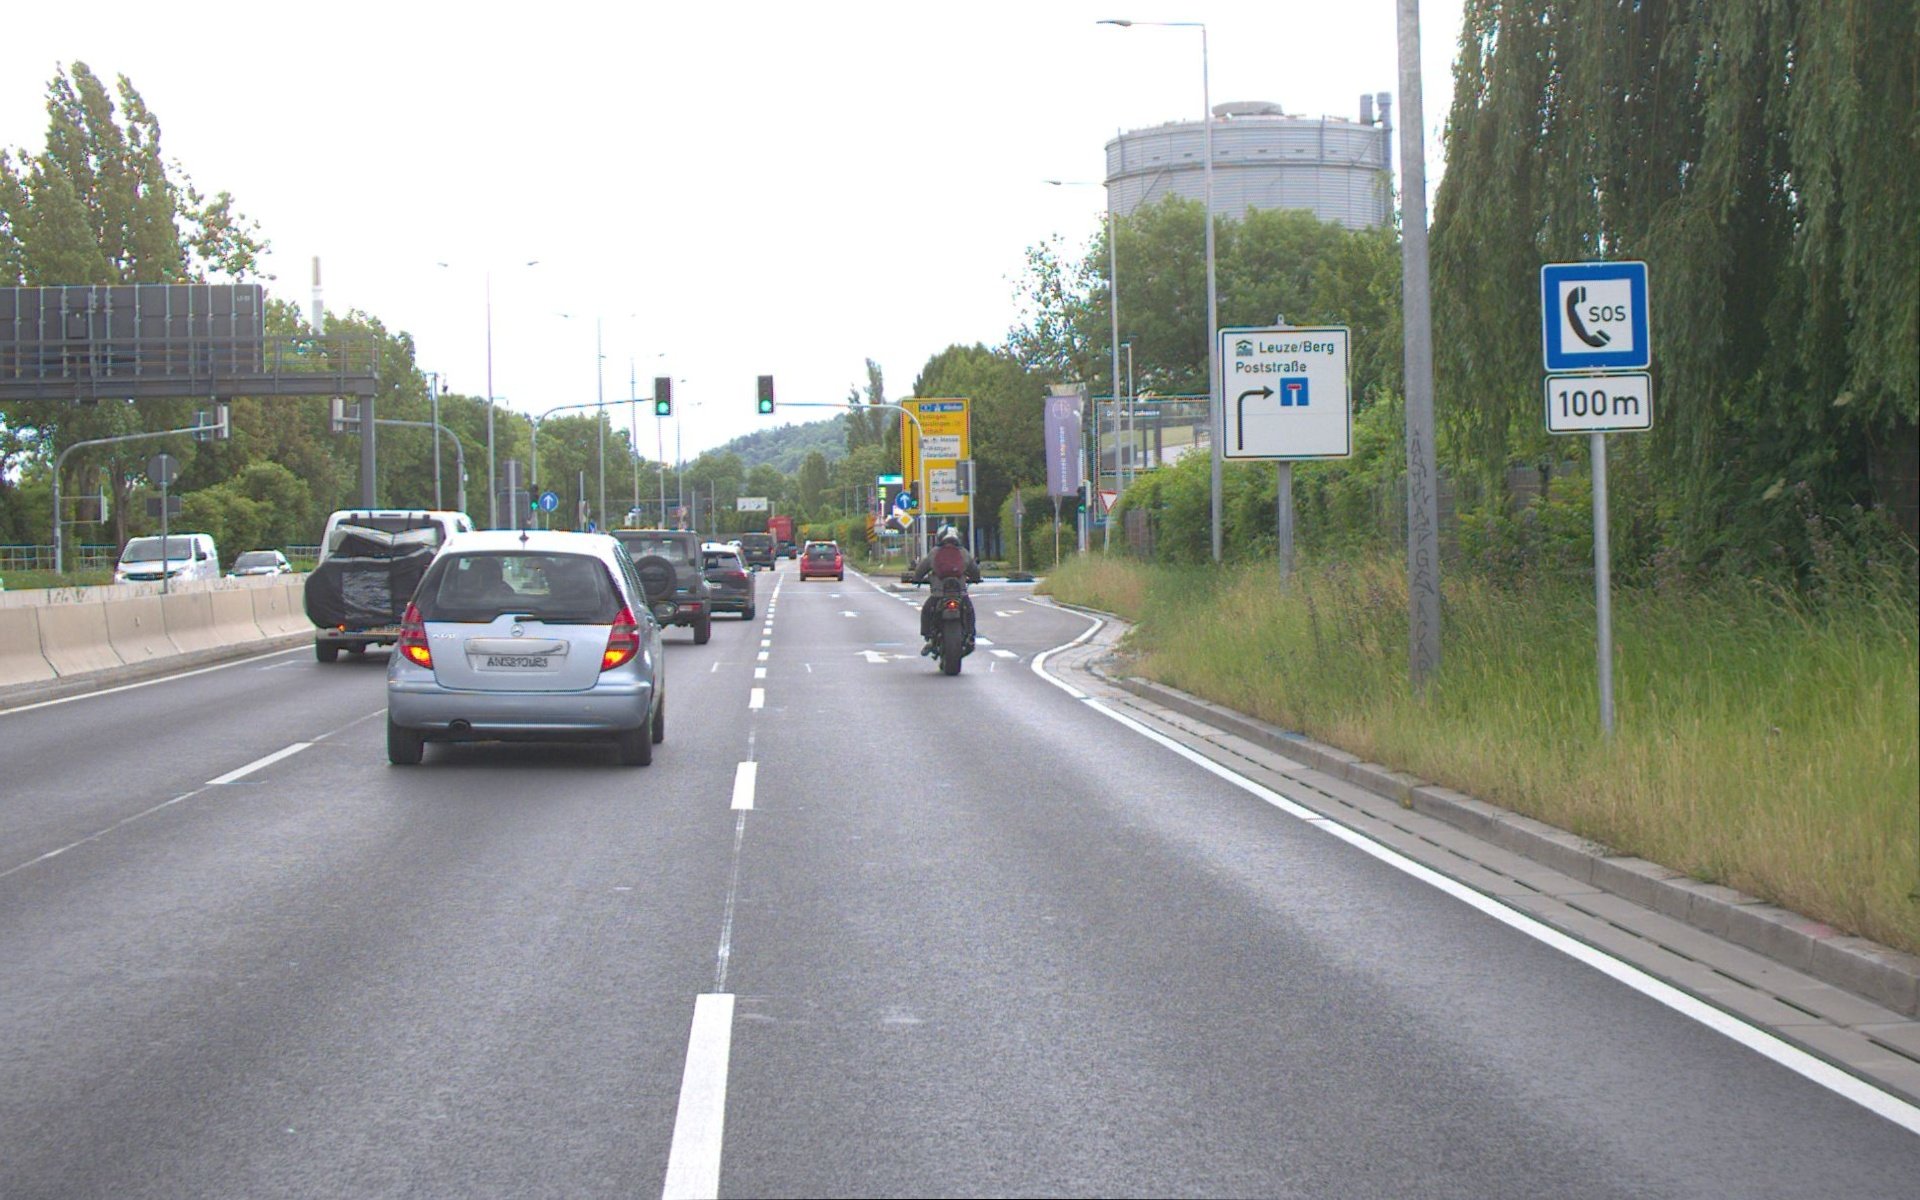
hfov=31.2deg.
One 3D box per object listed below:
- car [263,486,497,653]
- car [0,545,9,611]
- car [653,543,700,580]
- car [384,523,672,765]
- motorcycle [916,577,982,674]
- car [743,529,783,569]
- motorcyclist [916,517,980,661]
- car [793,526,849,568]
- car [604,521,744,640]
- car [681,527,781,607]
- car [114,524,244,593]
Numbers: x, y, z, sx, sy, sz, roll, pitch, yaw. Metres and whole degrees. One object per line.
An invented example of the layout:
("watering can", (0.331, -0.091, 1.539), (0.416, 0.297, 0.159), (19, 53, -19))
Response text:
("car", (-7.144, -0.415, 42.885), (2.214, 1.919, 5.003), (1, 1, -2))
("car", (-25.368, -0.535, 86.506), (1.877, 1.677, 4.123), (1, 1, -3))
("car", (-12.528, -1.722, 152.068), (1.993, 1.546, 4.001), (1, 1, -4))
("car", (-2.962, 0.240, 24.235), (1.710, 1.525, 4.001), (1, 1, -3))
("motorcycle", (-0.138, 0.277, 39.217), (0.706, 1.036, 2.027), (1, 1, -1))
("car", (-10.453, -2.720, 182.588), (1.993, 2.007, 4.001), (1, 1, -2))
("motorcyclist", (-0.136, -0.132, 39.126), (0.684, 1.604, 0.845), (1, 1, -1))
("car", (-5.365, -2.059, 132.240), (1.993, 1.546, 4.001), (1, 1, -4))
("car", (-4.263, -0.326, 51.754), (1.907, 1.678, 4.001), (1, 1, -2))
("car", (-4.409, -0.655, 66.741), (1.840, 1.459, 4.001), (1, 1, -3))
("car", (-18.548, -1.020, 81.849), (1.993, 1.554, 4.886), (1, 1, 0))
